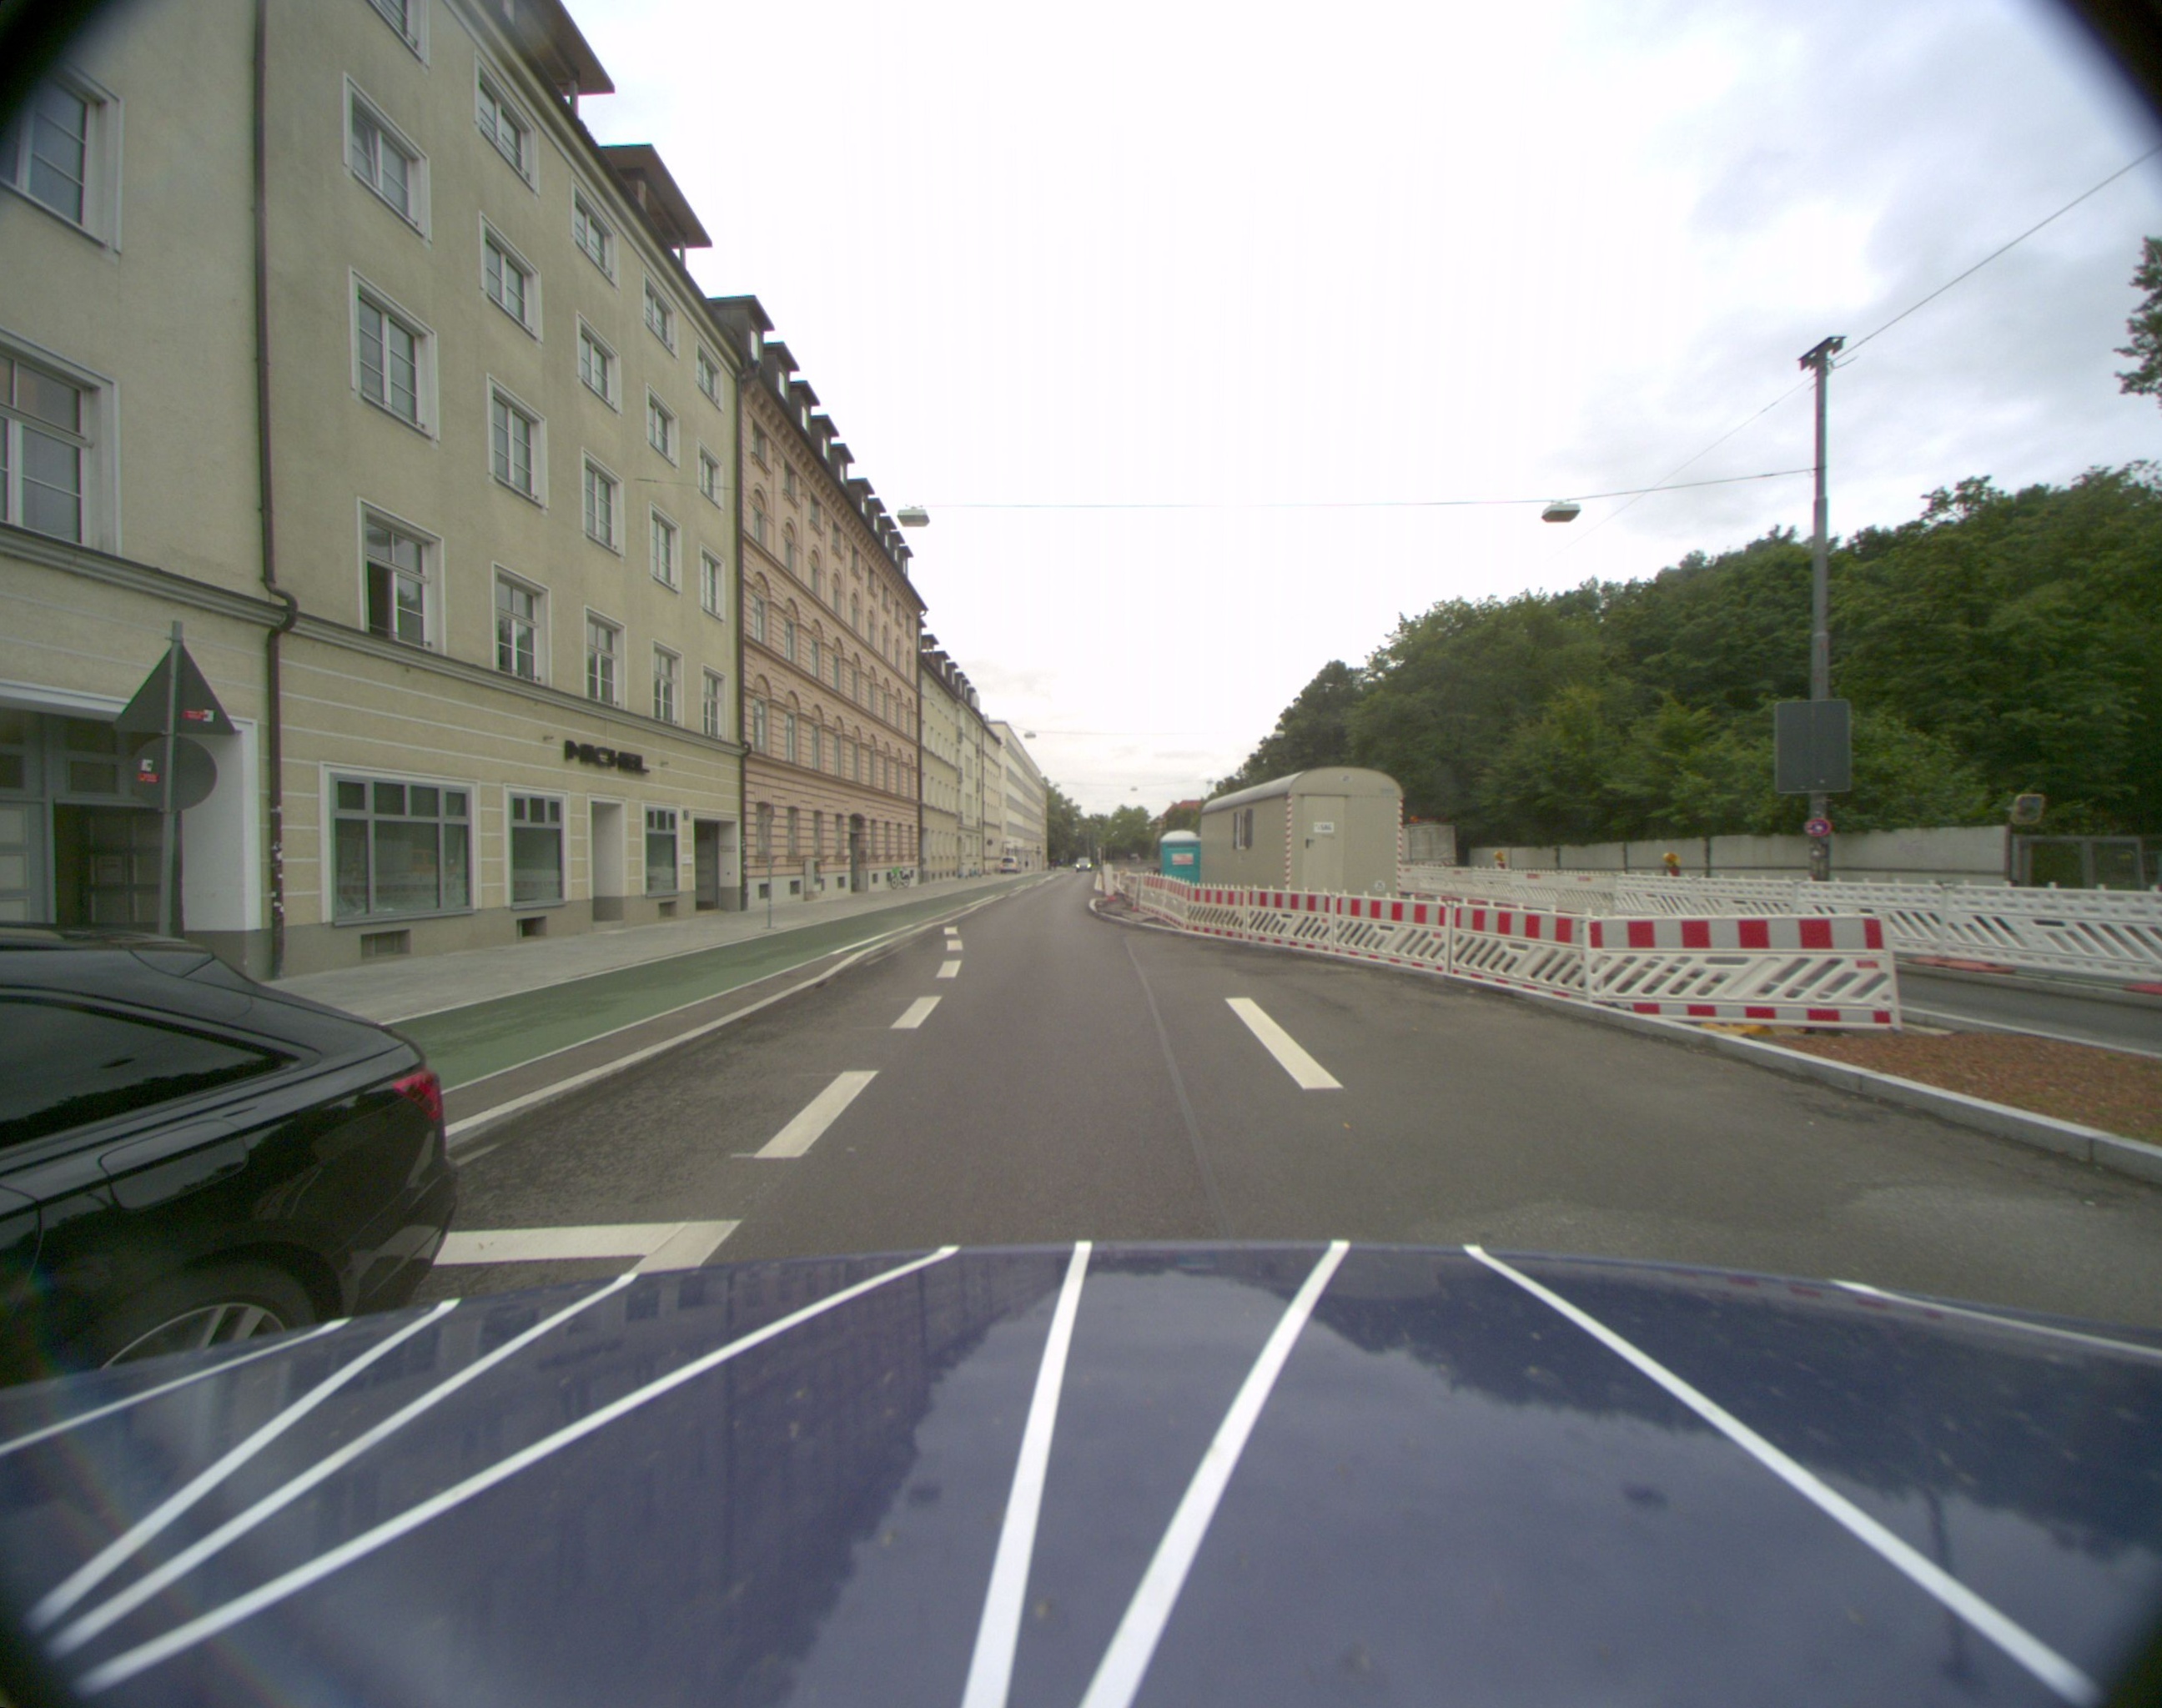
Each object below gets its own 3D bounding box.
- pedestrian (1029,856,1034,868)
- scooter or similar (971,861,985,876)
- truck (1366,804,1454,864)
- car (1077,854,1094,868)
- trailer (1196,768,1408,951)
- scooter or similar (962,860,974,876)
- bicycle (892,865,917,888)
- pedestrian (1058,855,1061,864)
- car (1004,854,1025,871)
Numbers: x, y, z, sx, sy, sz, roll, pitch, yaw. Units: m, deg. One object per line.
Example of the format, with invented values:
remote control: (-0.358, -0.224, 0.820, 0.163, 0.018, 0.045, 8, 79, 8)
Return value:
pedestrian: (-6.781, 1.113, 103.823, 0.666, 1.626, 0.737, -1, 1, 1)
scooter or similar: (-8.602, 1.193, 63.294, 1.121, 1.224, 0.246, 1, 1, -32)
truck: (16.226, -0.925, 37.830, 1.998, 2.712, 5.871, -1, 0, 2)
car: (0.575, 0.879, 96.317, 1.998, 1.738, 4.000, -1, 0, 0)
trailer: (4.517, 0.100, 17.278, 2.233, 3.224, 7.516, -1, 0, -3)
scooter or similar: (-8.724, 1.086, 58.675, 0.246, 1.224, 1.122, 2, 1, 27)
bicycle: (-9.271, 1.165, 39.910, 0.426, 1.167, 1.734, 0, 0, 19)
pedestrian: (-4.225, 1.096, 148.748, 0.514, 1.825, 0.602, -1, 1, 2)
car: (-7.065, 0.853, 81.056, 1.737, 1.739, 4.436, 0, 0, 2)
